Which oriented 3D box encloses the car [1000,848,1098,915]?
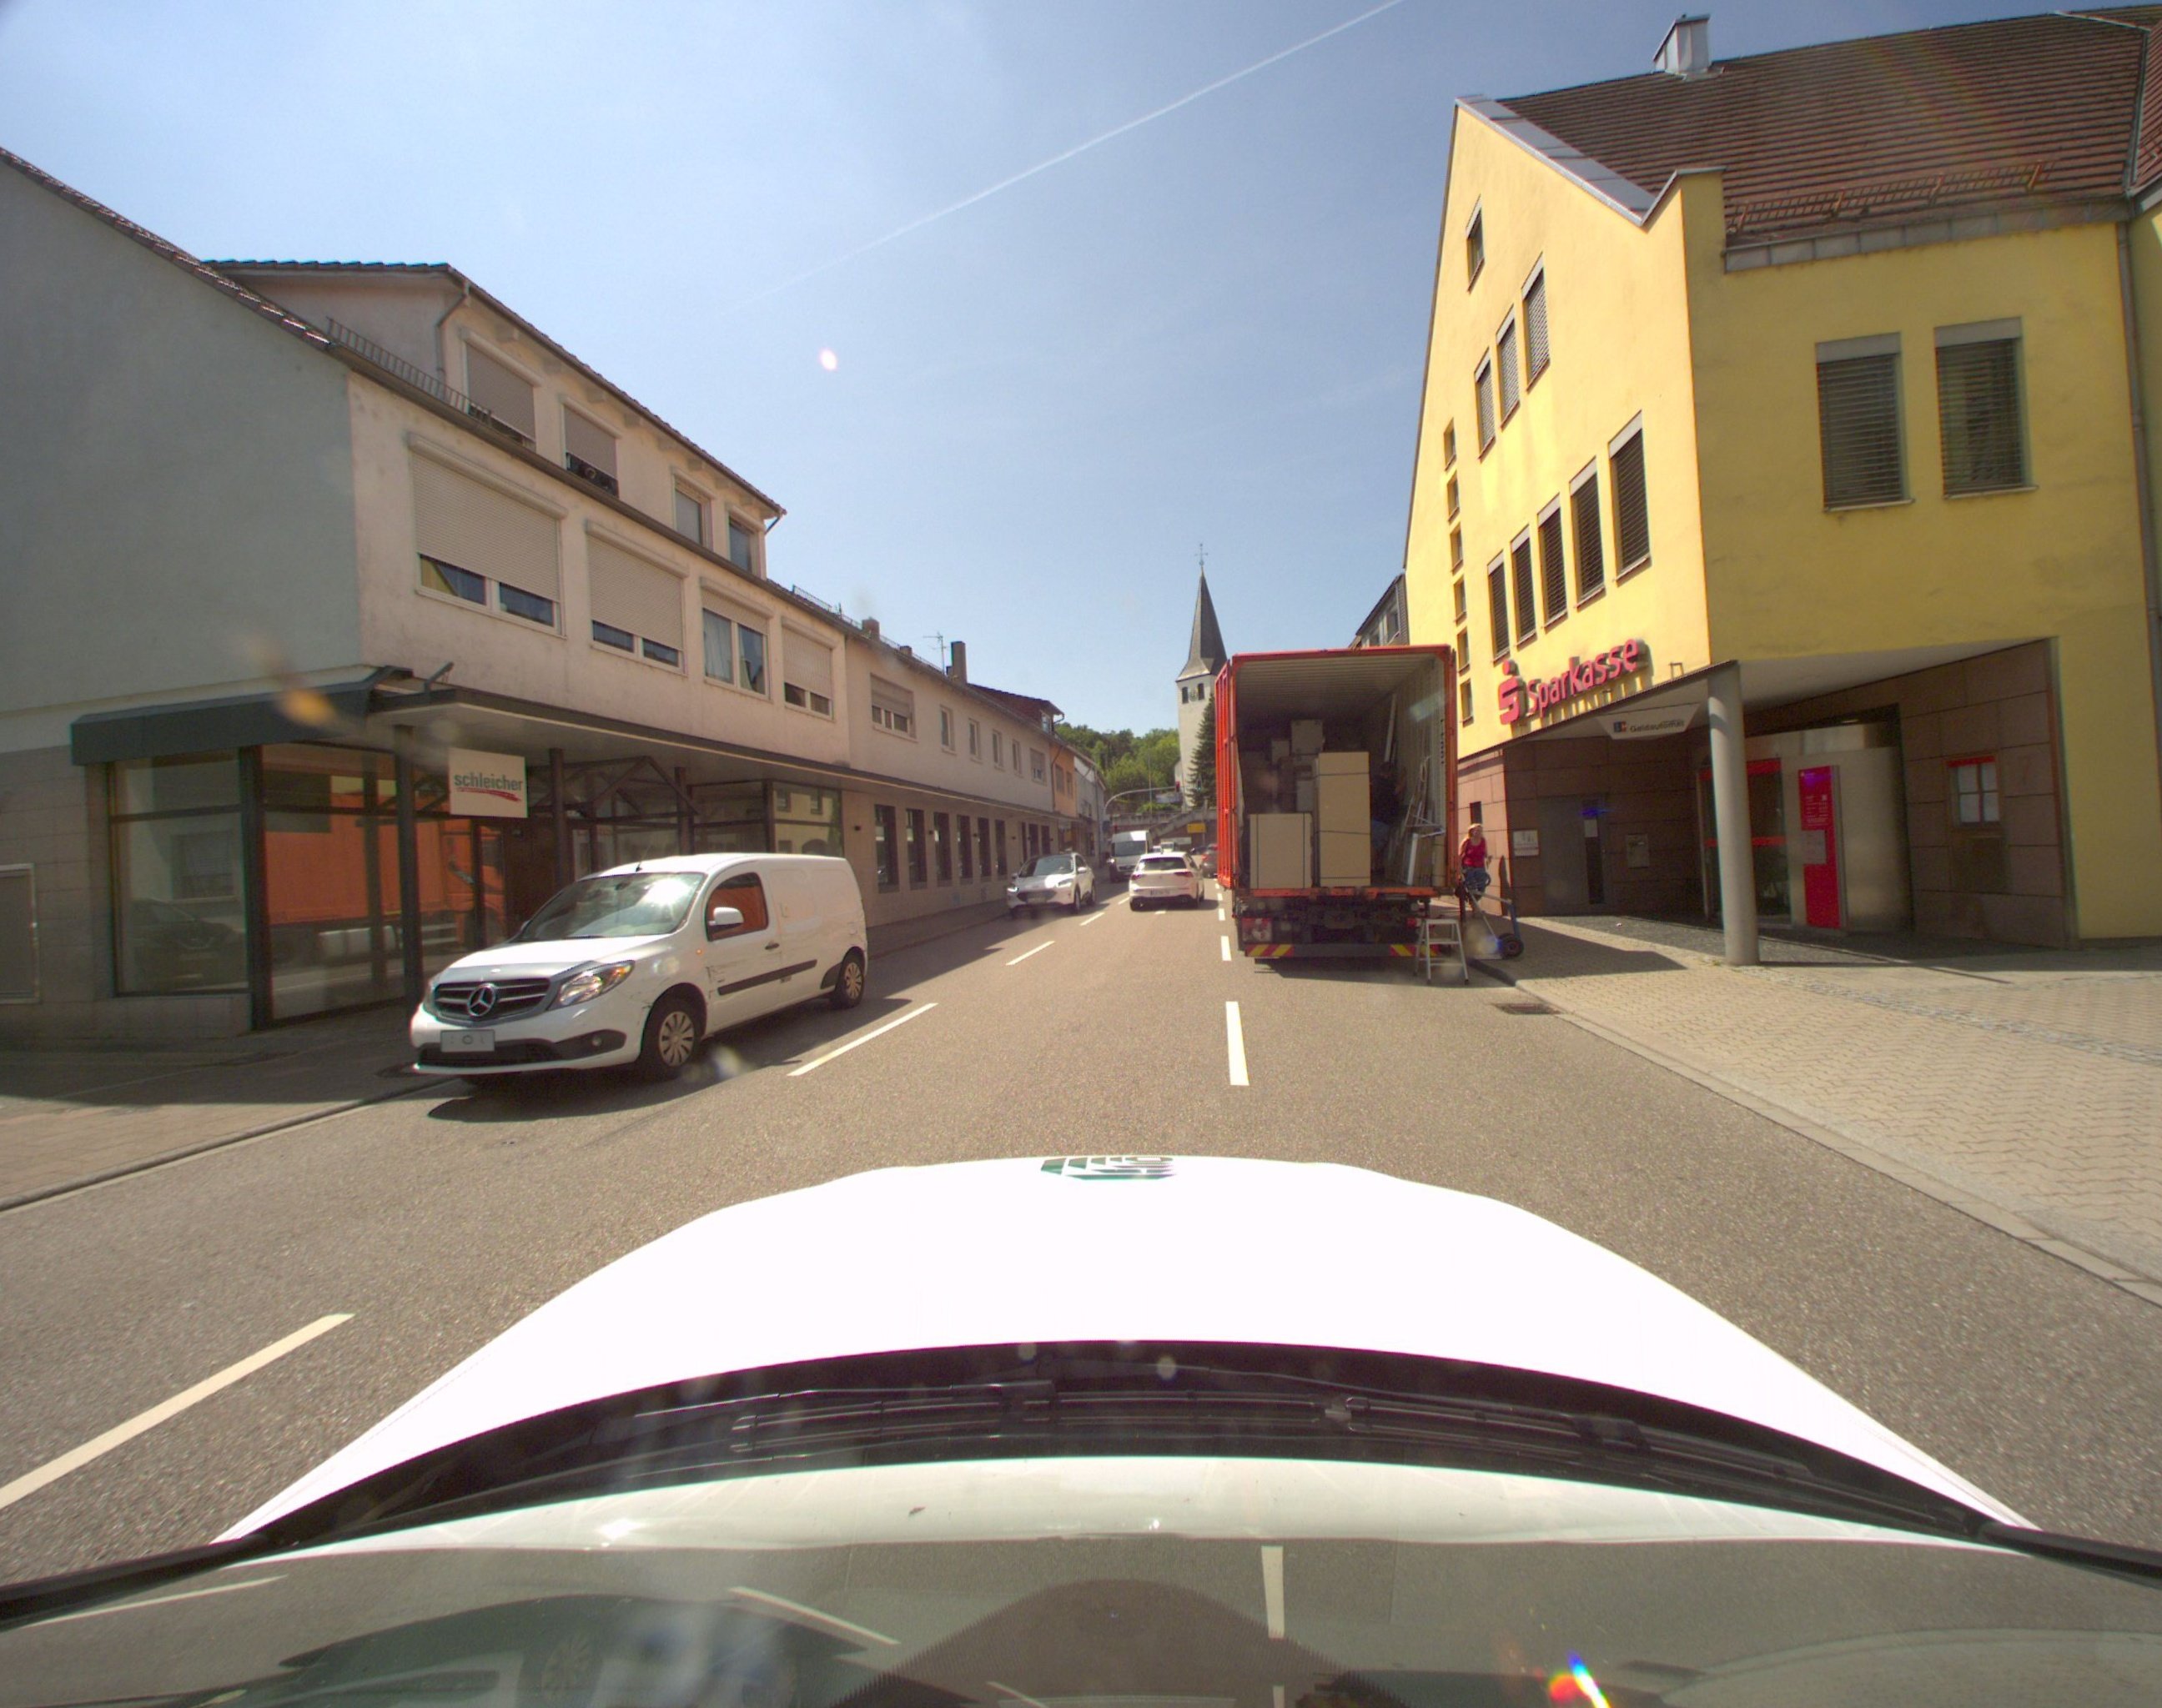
[{"bbox_3d":[-0.781,0.713,22.860,1.807,1.554,4.209,-5,-1,9],"label":"car"}]

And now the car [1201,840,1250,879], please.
[{"bbox_3d":[6.831,0.198,38.898,1.939,1.582,4.335,-3,2,6],"label":"car"}]

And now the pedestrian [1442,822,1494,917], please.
[{"bbox_3d":[6.898,0.277,14.546,0.684,1.653,0.652,-1,-1,11],"label":"pedestrian"}]

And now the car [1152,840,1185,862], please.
[{"bbox_3d":[7.571,-0.248,70.563,1.664,1.617,3.843,-5,1,23],"label":"car"}]

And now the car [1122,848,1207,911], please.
[{"bbox_3d":[2.330,0.613,21.868,1.771,1.458,3.876,-3,0,12],"label":"car"}]

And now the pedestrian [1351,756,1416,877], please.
[{"bbox_3d":[4.558,-0.544,12.339,0.745,1.757,0.930,-1,-1,9],"label":"pedestrian"}]

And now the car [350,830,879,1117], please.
[{"bbox_3d":[-3.742,0.829,7.745,1.772,1.830,4.611,-4,-1,9],"label":"car"}]

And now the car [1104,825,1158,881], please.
[{"bbox_3d":[2.696,-0.057,42.425,2.127,2.568,5.407,-5,0,9],"label":"car"}]

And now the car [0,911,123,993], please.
[{"bbox_3d":[-20.155,1.848,14.205,1.643,1.352,4.138,-3,-1,11],"label":"car"}]

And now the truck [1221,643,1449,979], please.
[{"bbox_3d":[3.983,-0.613,14.704,2.592,3.945,10.024,-1,1,11],"label":"truck"}]

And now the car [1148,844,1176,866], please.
[{"bbox_3d":[5.888,0.066,58.772,1.586,1.455,3.457,-5,0,11],"label":"car"}]
